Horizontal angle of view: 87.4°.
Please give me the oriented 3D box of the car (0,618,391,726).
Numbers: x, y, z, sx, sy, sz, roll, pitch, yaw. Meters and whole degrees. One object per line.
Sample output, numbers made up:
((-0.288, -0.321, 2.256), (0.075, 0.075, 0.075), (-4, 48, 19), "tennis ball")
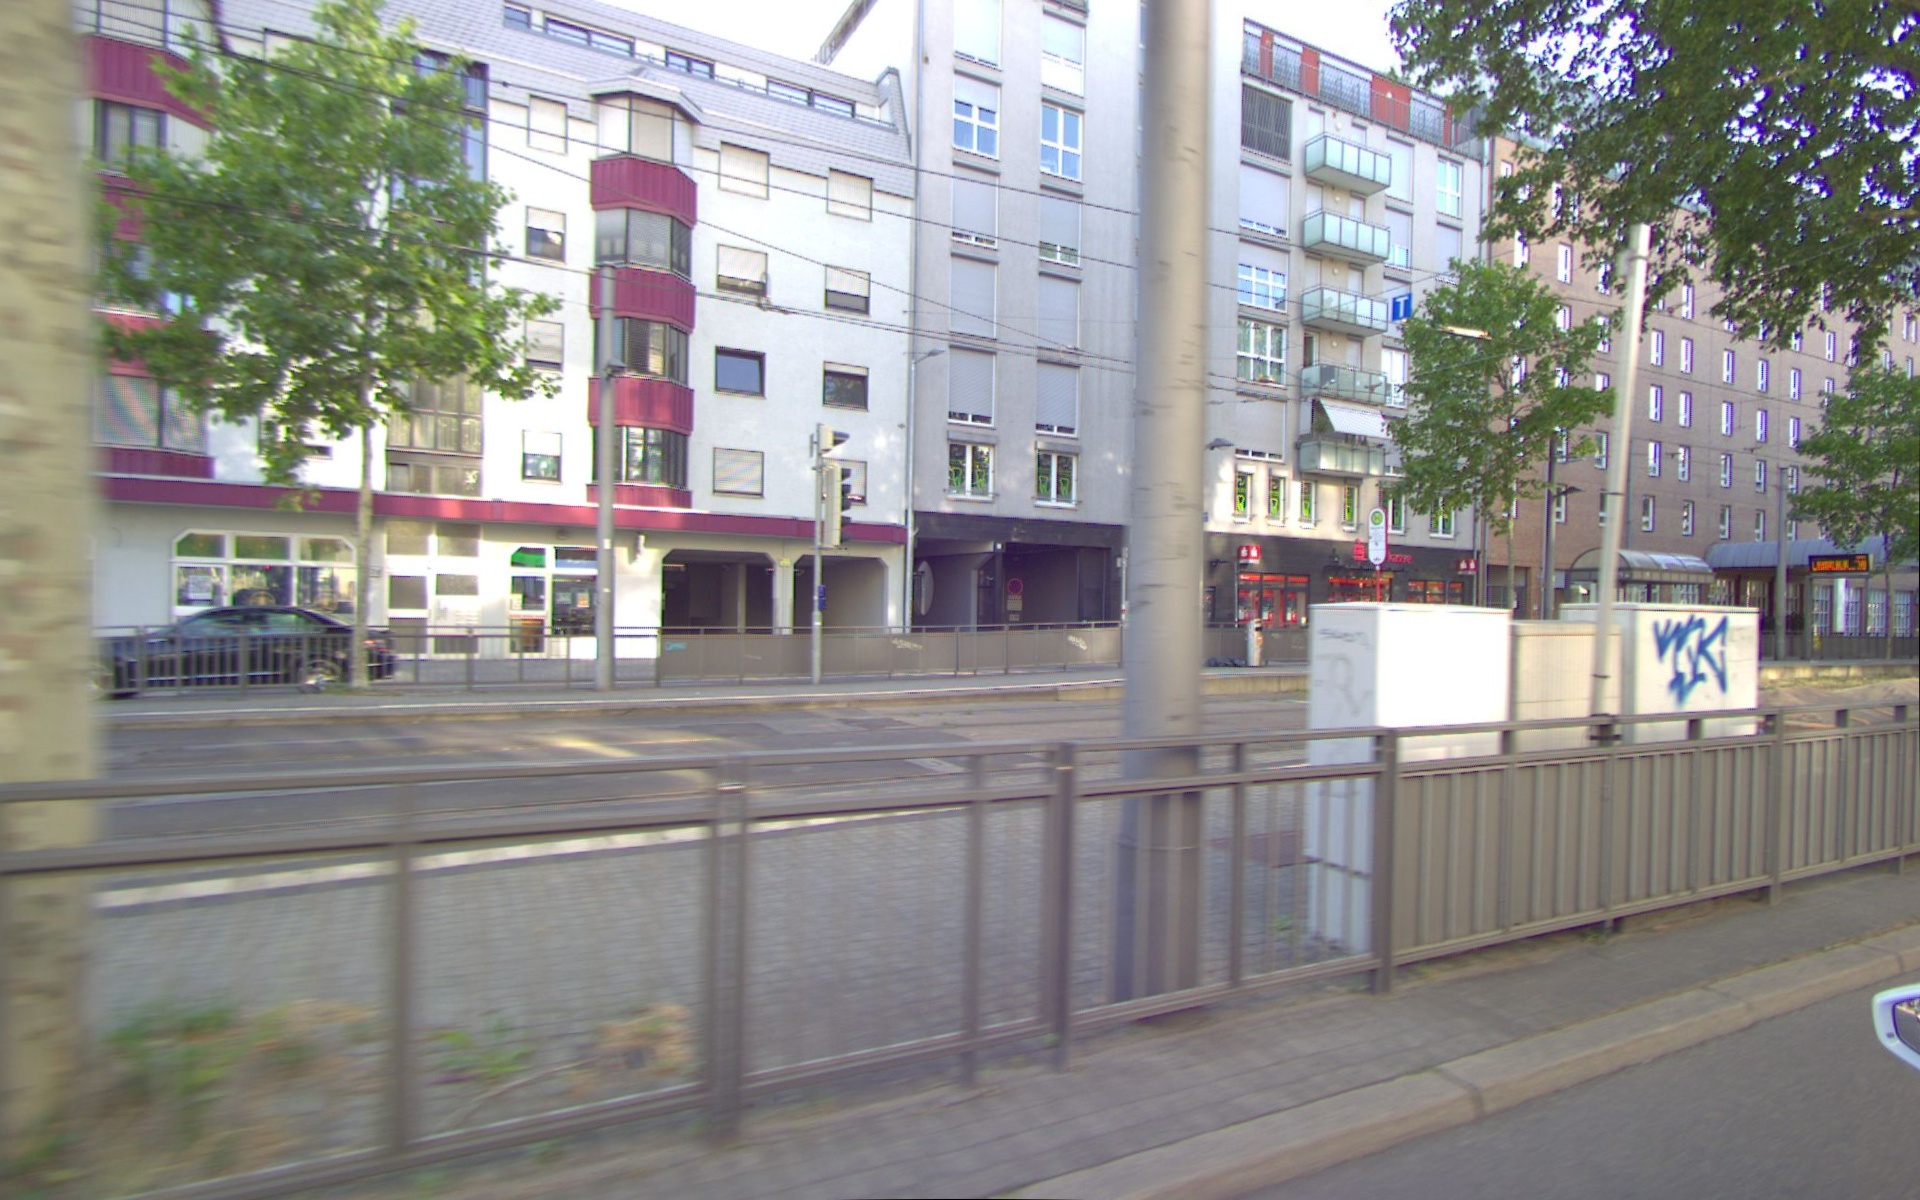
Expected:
((-11.243, 0.992, 15.149), (4.596, 1.418, 1.692), (1, -1, -30), "car")

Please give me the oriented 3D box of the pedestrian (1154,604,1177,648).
((7.142, 0.897, 34.834), (0.581, 1.514, 0.532), (0, 0, -31), "pedestrian")

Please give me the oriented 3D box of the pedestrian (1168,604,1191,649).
((7.510, 0.909, 34.348), (0.581, 1.514, 0.532), (0, 0, -31), "pedestrian")
